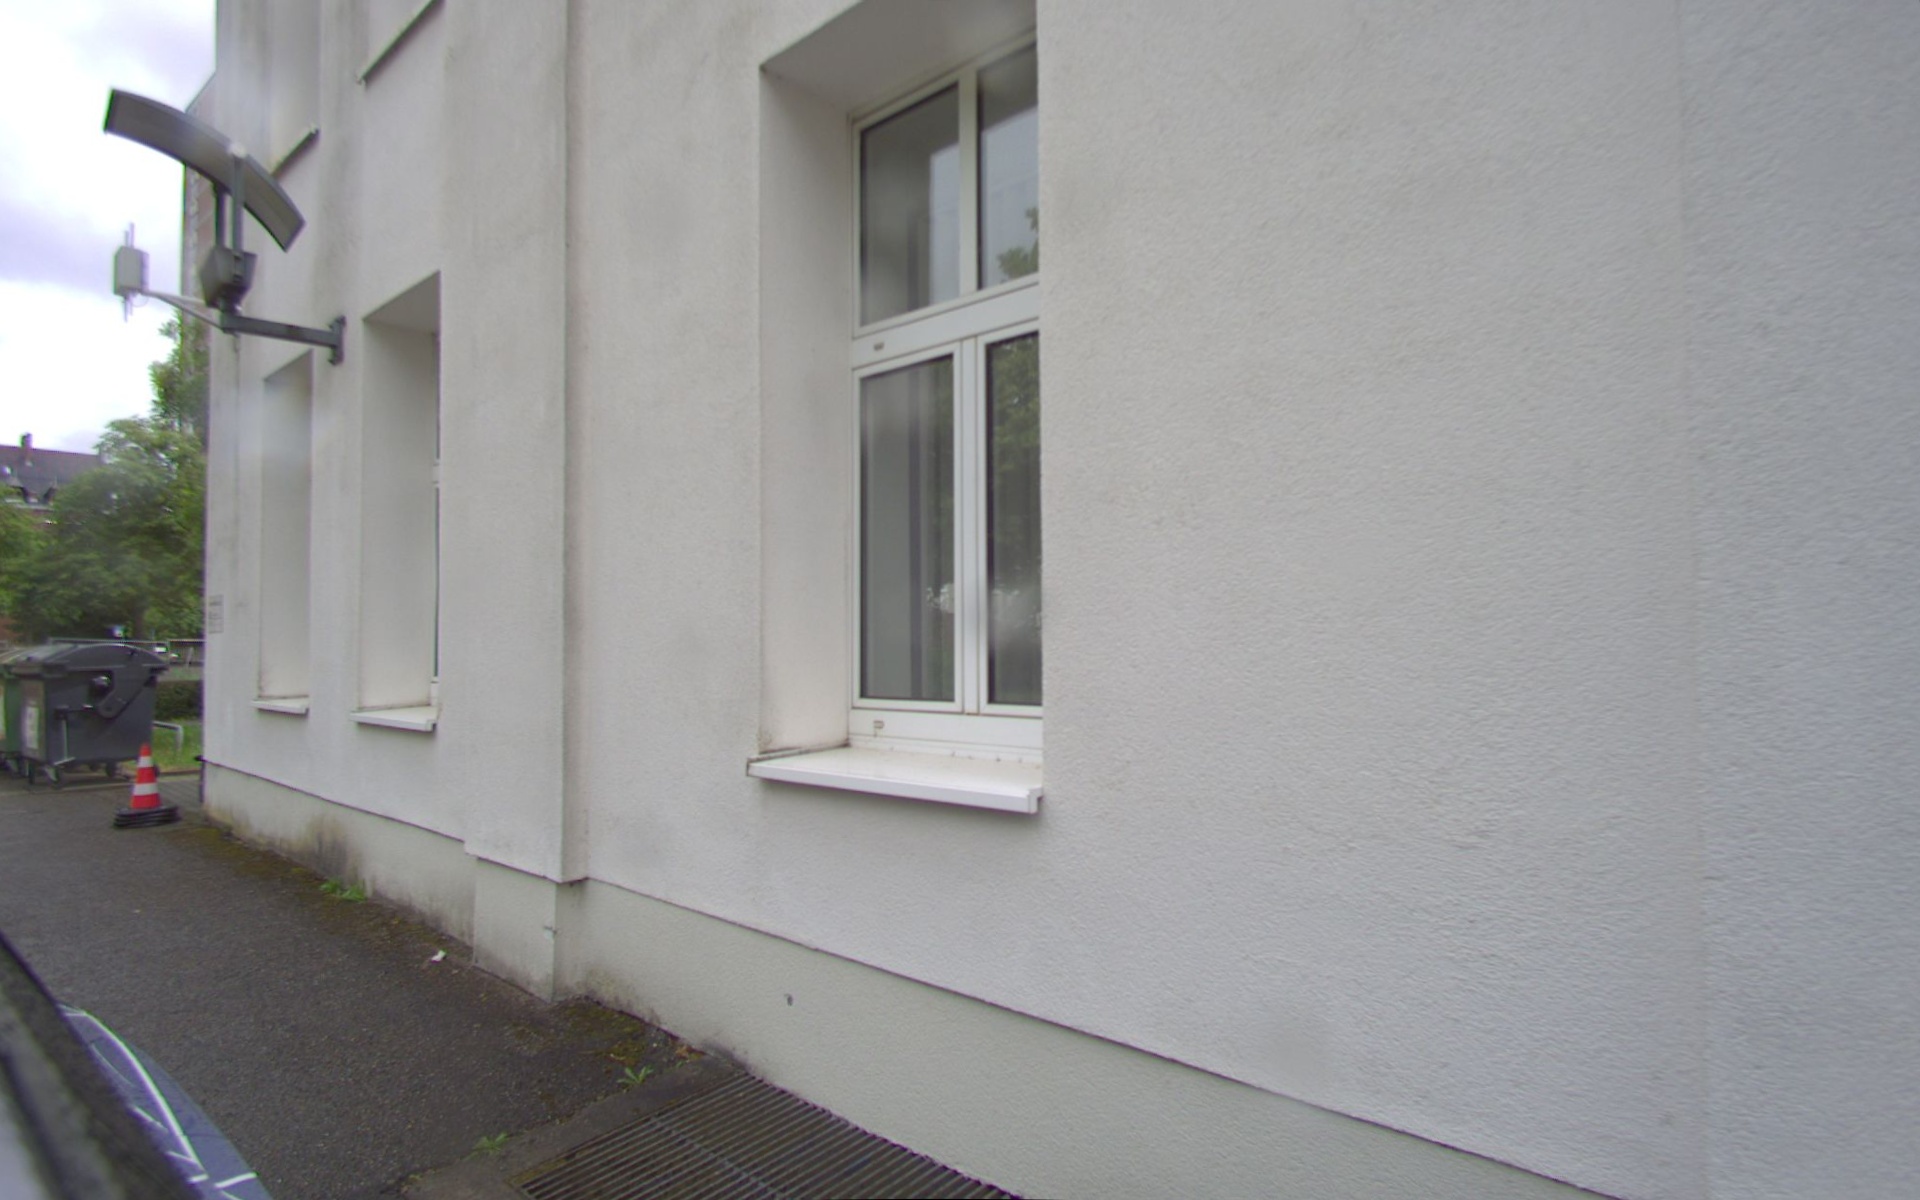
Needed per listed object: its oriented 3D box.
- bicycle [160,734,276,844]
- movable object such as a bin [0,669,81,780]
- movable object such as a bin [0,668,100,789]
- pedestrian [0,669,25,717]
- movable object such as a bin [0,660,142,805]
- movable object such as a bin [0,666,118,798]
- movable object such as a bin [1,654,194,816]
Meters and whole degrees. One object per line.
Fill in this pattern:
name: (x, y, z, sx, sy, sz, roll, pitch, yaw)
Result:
bicycle: (-6.776, 1.667, 9.202, 2.056, 0.805, 0.447, -5, -4, 42)
movable object such as a bin: (-13.648, 1.778, 14.507, 1.560, 1.482, 1.394, -5, -3, 41)
movable object such as a bin: (-12.473, 1.692, 13.494, 1.464, 1.482, 1.345, -5, -3, 41)
pedestrian: (-34.524, 3.358, 36.610, 0.763, 1.686, 0.715, 0, -4, -22)
movable object such as a bin: (-10.364, 1.476, 11.588, 1.365, 1.482, 1.345, -5, -3, 41)
movable object such as a bin: (-11.410, 1.595, 12.514, 1.351, 1.482, 1.345, -5, -3, 41)
movable object such as a bin: (-8.992, 1.343, 10.552, 1.365, 1.482, 1.345, -5, -3, 41)
